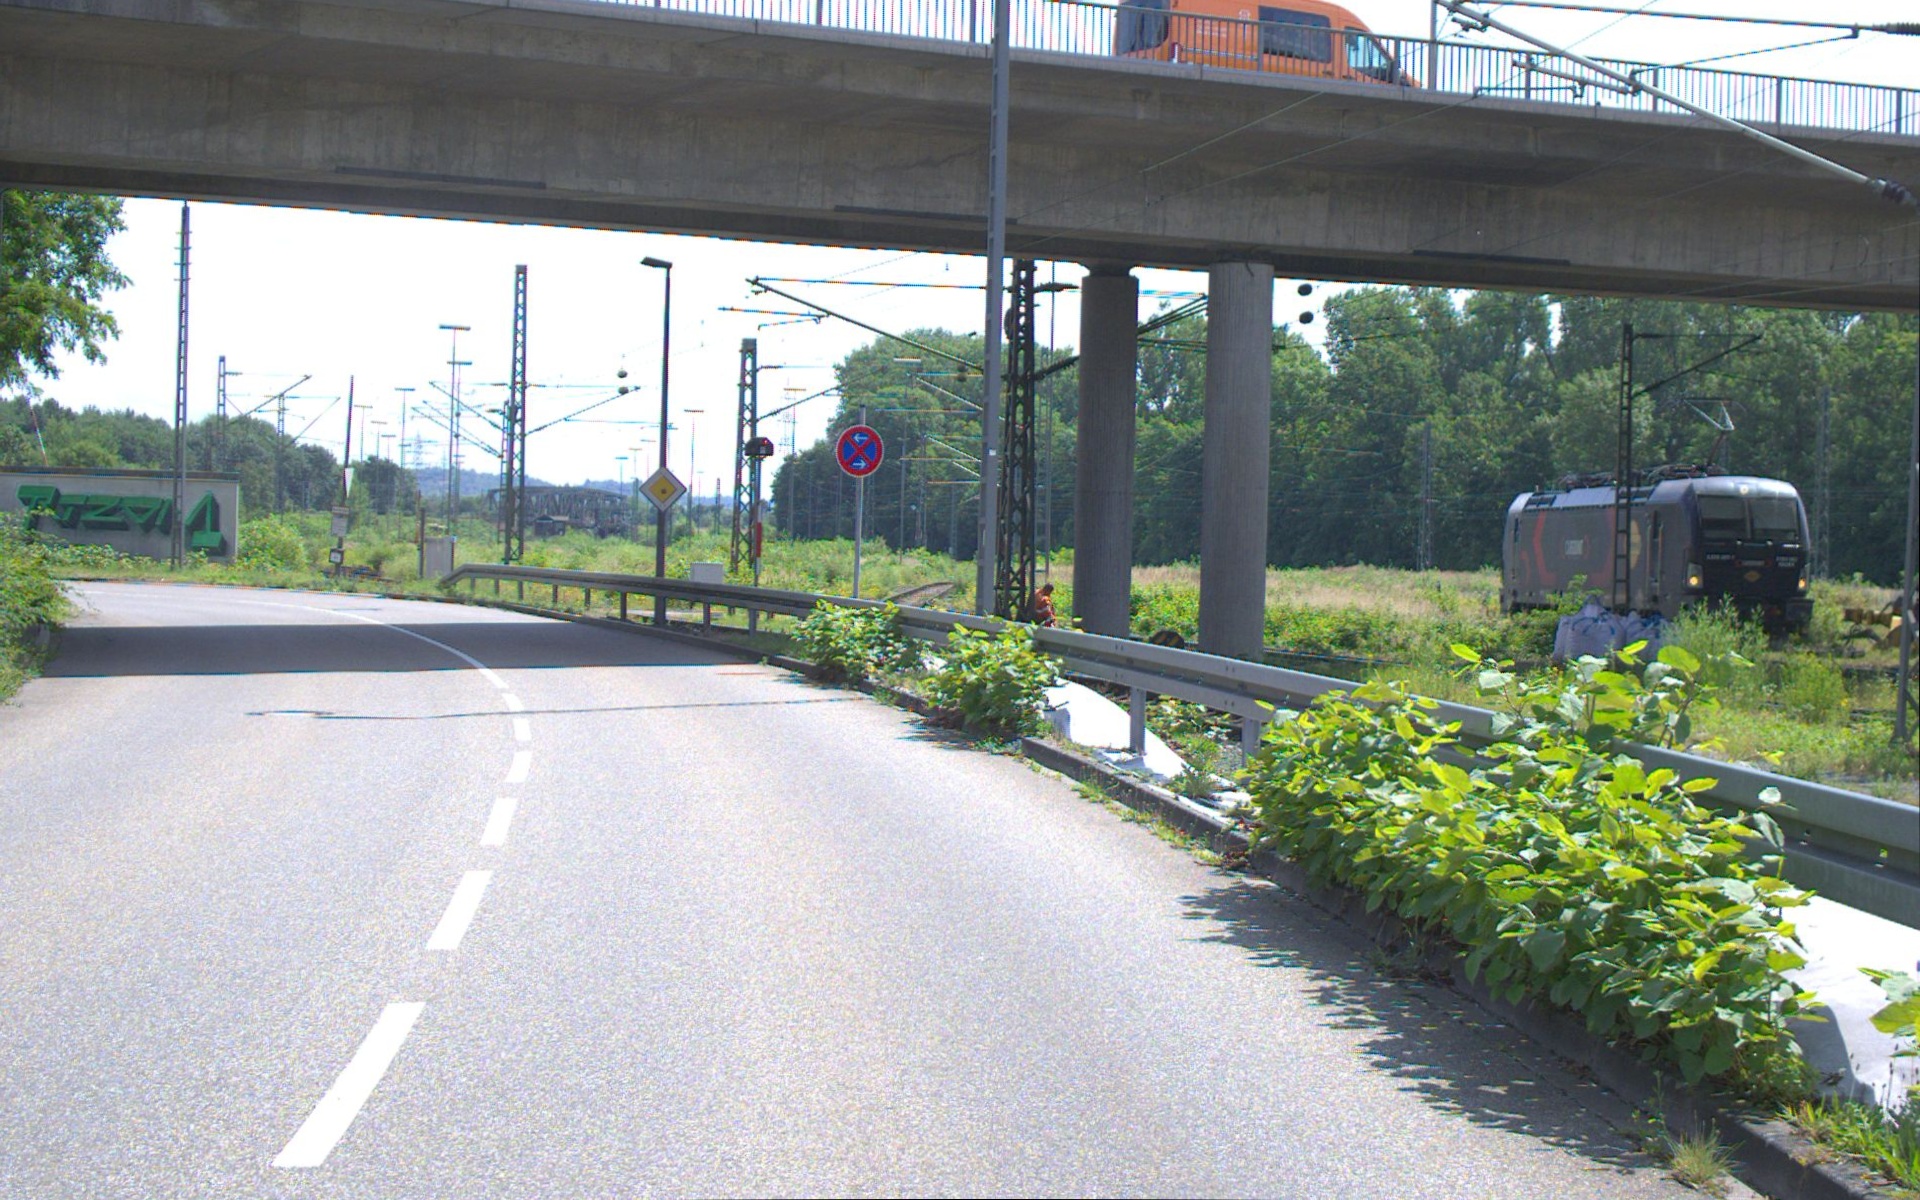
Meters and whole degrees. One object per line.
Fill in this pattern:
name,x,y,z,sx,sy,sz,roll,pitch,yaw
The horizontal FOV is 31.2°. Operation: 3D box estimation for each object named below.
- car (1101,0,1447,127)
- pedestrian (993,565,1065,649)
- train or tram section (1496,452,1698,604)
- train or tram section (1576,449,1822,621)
car,4.986,-8.775,54.328,5.319,2.007,2.000,-1,0,-33
pedestrian,1.286,0.126,64.681,1.110,1.534,1.580,1,0,-7
train or tram section,15.416,-1.707,83.868,2.755,3.465,8.240,1,0,-4
train or tram section,16.082,-1.382,75.482,2.890,3.497,8.566,1,0,-4
